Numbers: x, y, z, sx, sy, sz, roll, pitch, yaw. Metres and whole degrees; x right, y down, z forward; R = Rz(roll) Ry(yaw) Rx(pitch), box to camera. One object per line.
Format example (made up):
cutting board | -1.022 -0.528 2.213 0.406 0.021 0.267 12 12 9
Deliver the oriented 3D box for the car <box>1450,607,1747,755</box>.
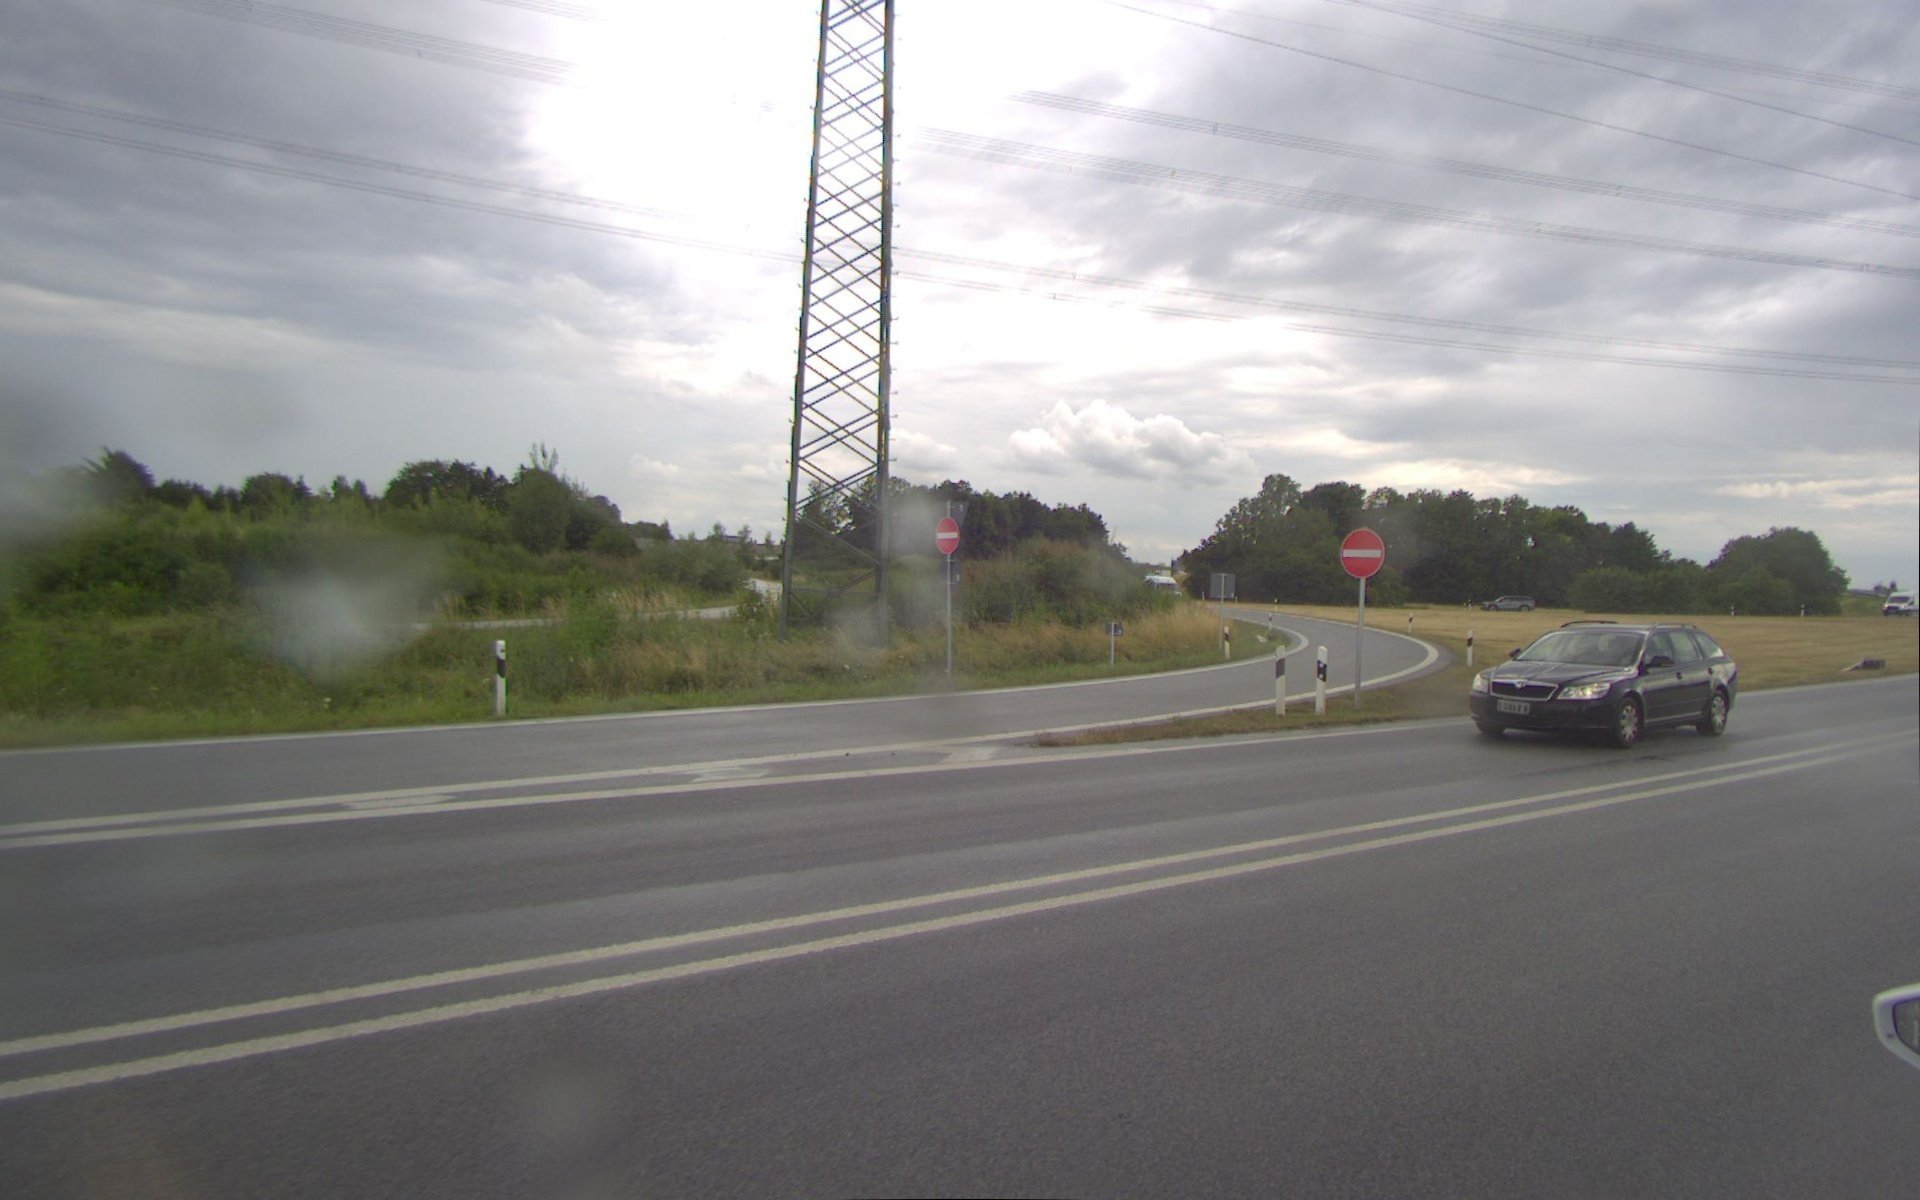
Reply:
car | 8.381 0.945 13.074 4.183 1.615 1.788 2 0 -35

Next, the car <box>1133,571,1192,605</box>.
car | 18.716 -1.180 93.125 2.183 2.786 5.988 4 2 -22

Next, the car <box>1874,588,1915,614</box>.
car | 94.385 0.131 101.475 5.427 2.423 2.413 2 0 -41
